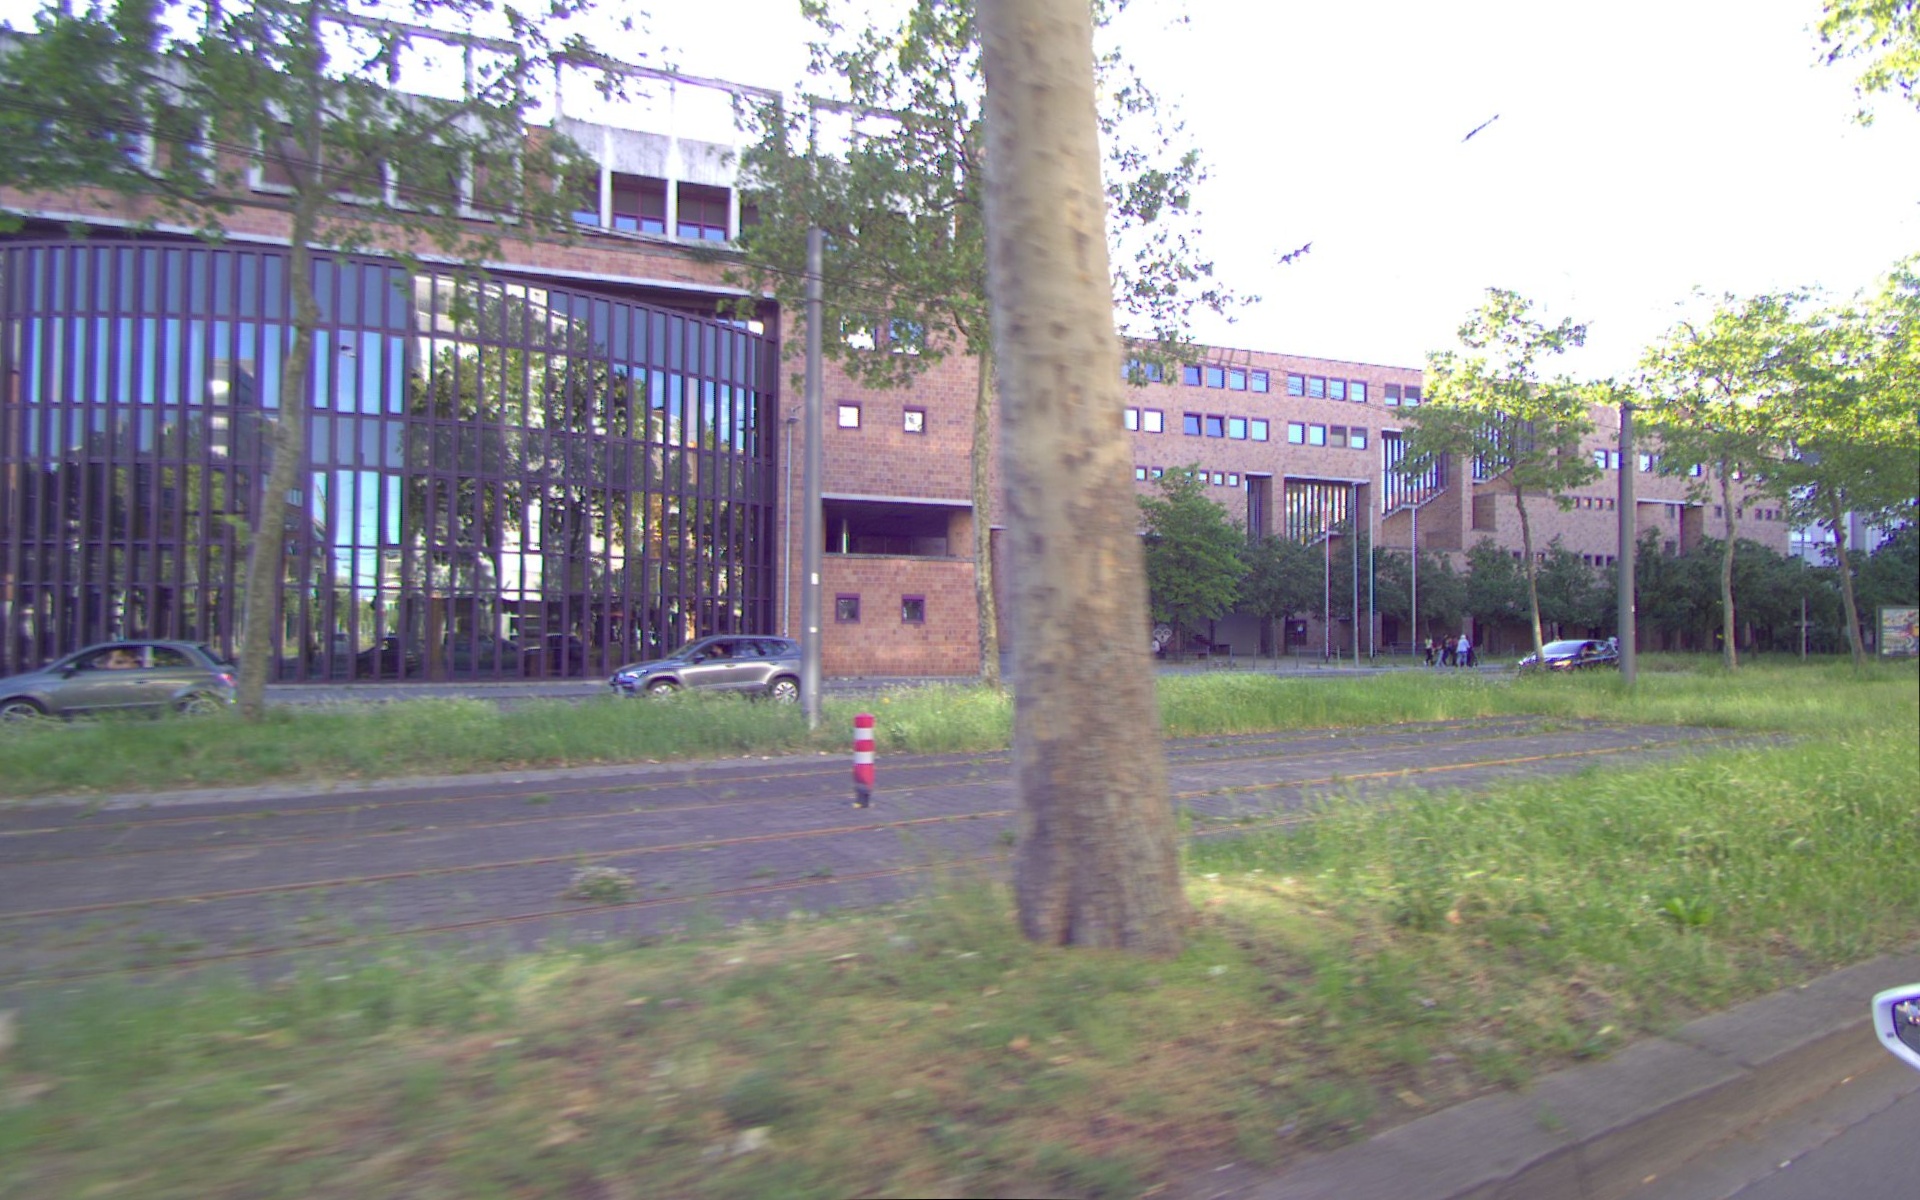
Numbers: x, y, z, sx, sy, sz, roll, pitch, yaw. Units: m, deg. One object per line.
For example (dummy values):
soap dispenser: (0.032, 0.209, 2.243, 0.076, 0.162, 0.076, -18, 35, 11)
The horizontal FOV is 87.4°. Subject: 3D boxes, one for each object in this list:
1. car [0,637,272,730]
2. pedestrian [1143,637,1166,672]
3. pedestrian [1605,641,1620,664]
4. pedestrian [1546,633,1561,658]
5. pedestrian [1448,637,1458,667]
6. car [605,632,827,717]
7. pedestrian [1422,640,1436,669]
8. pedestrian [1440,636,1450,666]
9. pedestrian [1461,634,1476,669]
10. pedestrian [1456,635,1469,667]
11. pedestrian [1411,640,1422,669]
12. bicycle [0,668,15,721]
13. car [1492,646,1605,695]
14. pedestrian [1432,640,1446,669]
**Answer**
car: (-13.770, 1.331, 16.889, 3.583, 1.346, 1.640, 0, -1, -33)
pedestrian: (10.693, 3.008, 55.294, 0.867, 1.906, 0.976, 1, -2, -19)
pedestrian: (37.253, 3.002, 57.370, 0.514, 1.308, 0.501, 1, -2, -24)
pedestrian: (31.453, 2.403, 53.241, 0.514, 1.308, 0.501, 1, -2, -24)
pedestrian: (24.616, 2.577, 50.149, 0.337, 1.476, 0.317, 1, -2, -23)
car: (-5.206, 1.527, 21.621, 4.295, 1.582, 1.812, 0, -1, -33)
pedestrian: (23.220, 2.679, 49.711, 0.452, 1.435, 0.390, 1, -2, -22)
pedestrian: (24.450, 2.577, 50.604, 0.311, 1.476, 0.292, 1, -2, -23)
pedestrian: (25.291, 2.547, 49.937, 0.473, 1.727, 0.435, 1, -2, -22)
pedestrian: (24.836, 2.524, 49.652, 0.417, 1.543, 0.364, 1, -2, -21)
pedestrian: (22.804, 2.702, 50.152, 0.327, 1.438, 0.364, 1, -2, -21)
bicycle: (-17.985, 1.691, 17.893, 1.546, 0.925, 0.534, 1, -2, -22)
car: (18.744, 2.202, 31.984, 3.692, 1.417, 1.584, 1, -2, -32)
pedestrian: (23.428, 2.664, 49.085, 0.477, 1.435, 0.390, 1, -2, -21)
